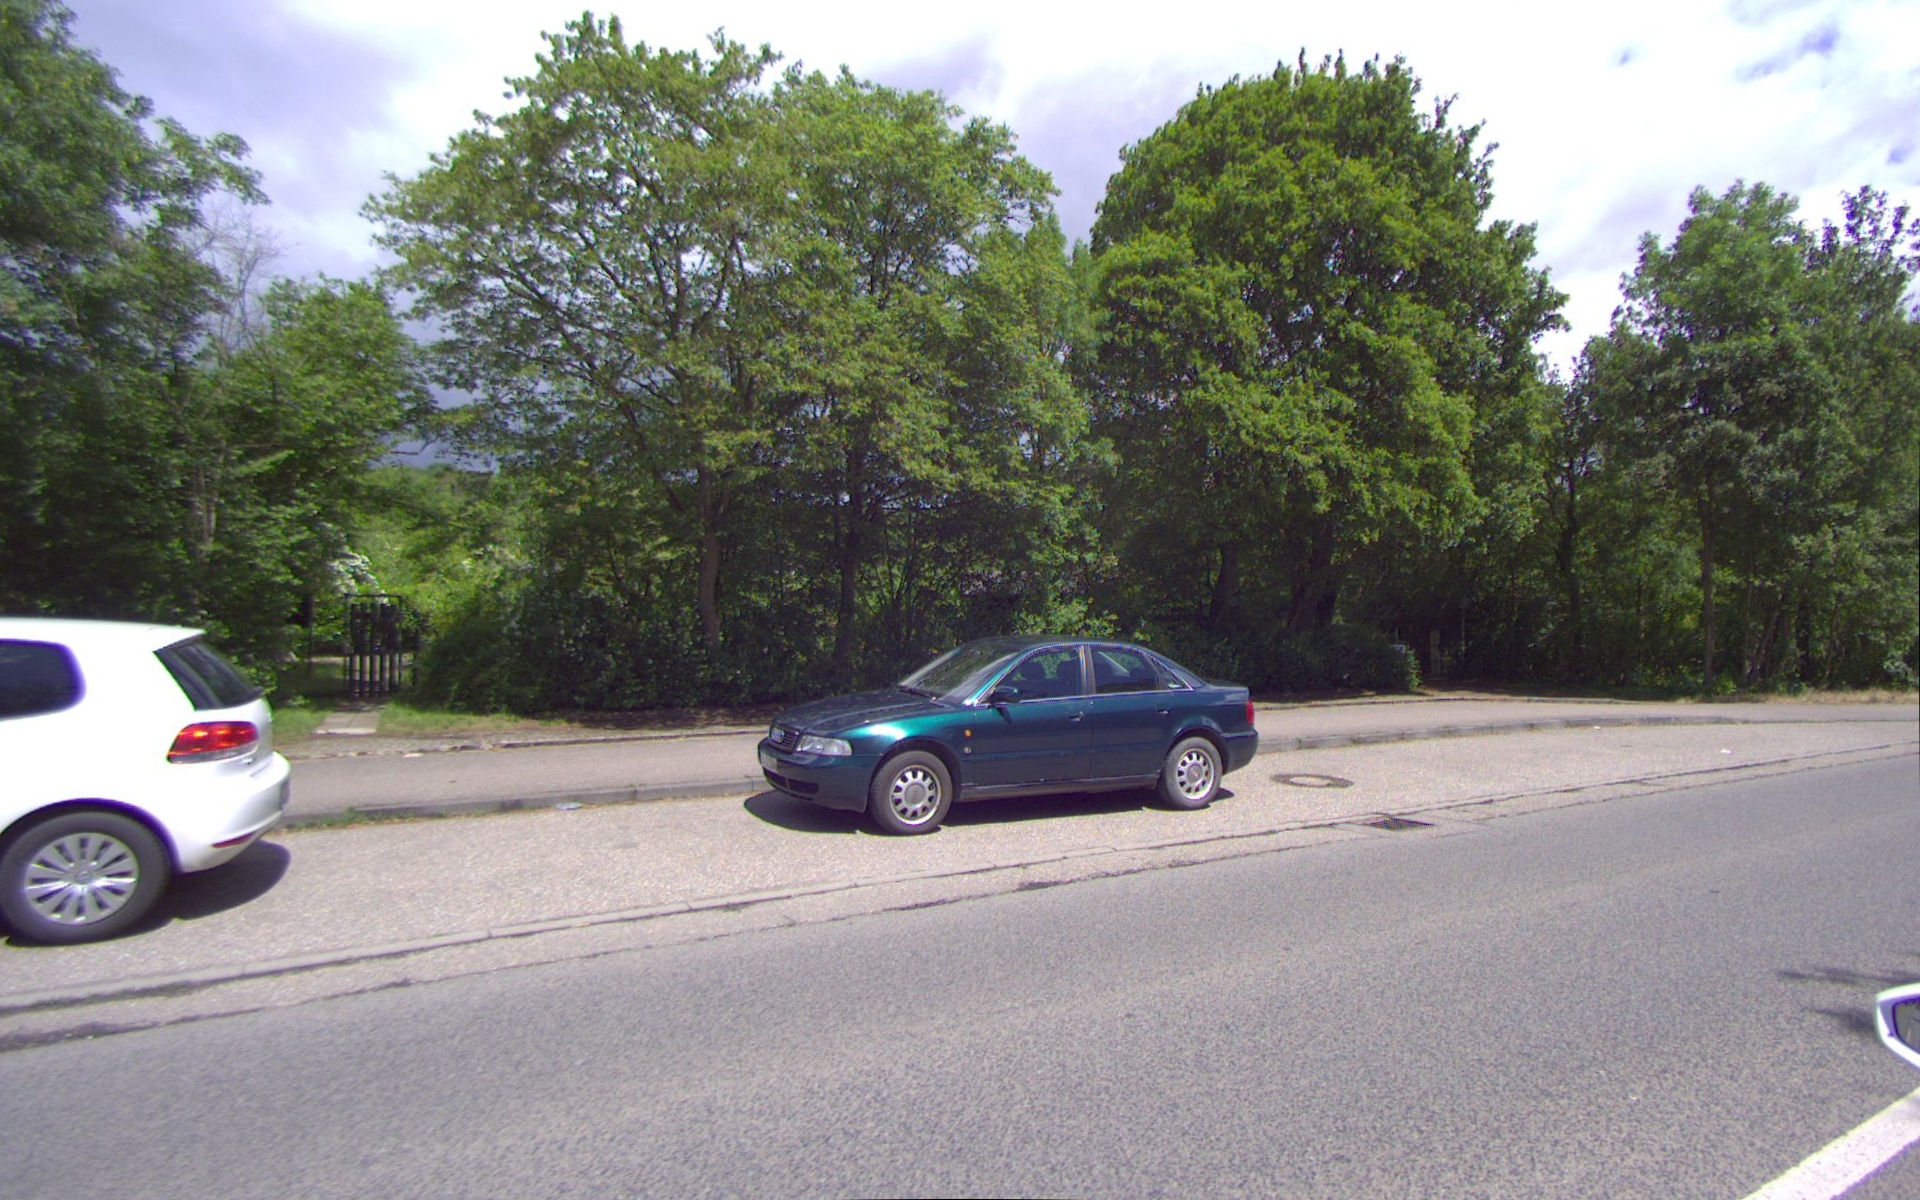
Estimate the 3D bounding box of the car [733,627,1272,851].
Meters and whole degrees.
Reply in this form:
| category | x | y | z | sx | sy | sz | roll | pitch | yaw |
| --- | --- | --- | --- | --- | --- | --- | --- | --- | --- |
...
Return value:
| category | x | y | z | sx | sy | sz | roll | pitch | yaw |
| --- | --- | --- | --- | --- | --- | --- | --- | --- | --- |
| car | 0.408 | 1.007 | 8.469 | 4.211 | 1.426 | 1.761 | 2 | 0 | -27 |

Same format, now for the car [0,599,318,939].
| category | x | y | z | sx | sy | sz | roll | pitch | yaw |
| --- | --- | --- | --- | --- | --- | --- | --- | --- | --- |
| car | -5.583 | 0.741 | 4.762 | 4.198 | 1.489 | 1.758 | 2 | 0 | -32 |
